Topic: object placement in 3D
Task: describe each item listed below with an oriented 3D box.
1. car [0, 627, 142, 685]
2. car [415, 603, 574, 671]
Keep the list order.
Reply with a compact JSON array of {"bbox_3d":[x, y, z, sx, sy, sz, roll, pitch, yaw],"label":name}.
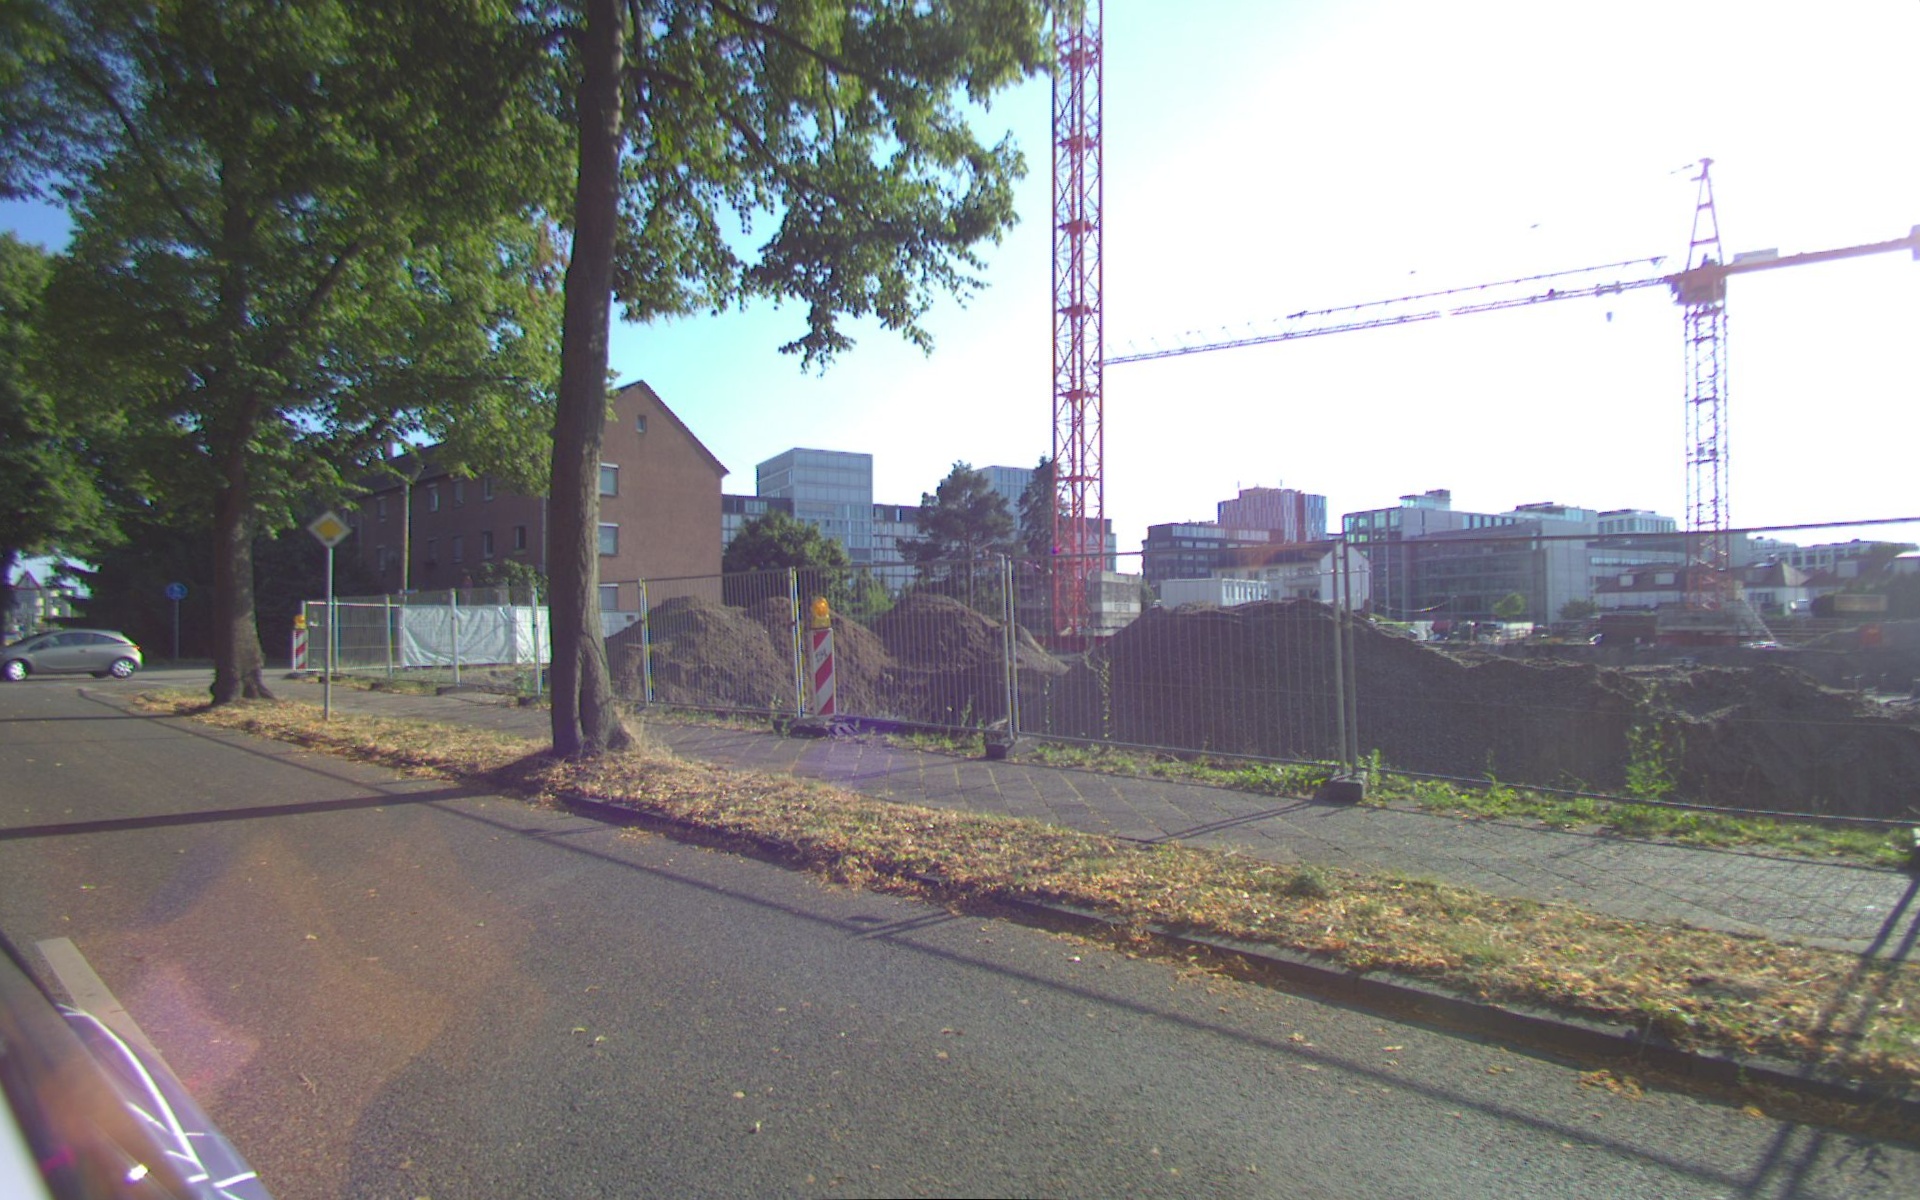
[{"bbox_3d":[-26.166,1.582,29.085,1.646,1.484,3.813,-2,-1,33],"label":"car"},{"bbox_3d":[-18.472,1.527,40.320,5.242,2.487,2.172,5,-5,-42],"label":"car"}]
